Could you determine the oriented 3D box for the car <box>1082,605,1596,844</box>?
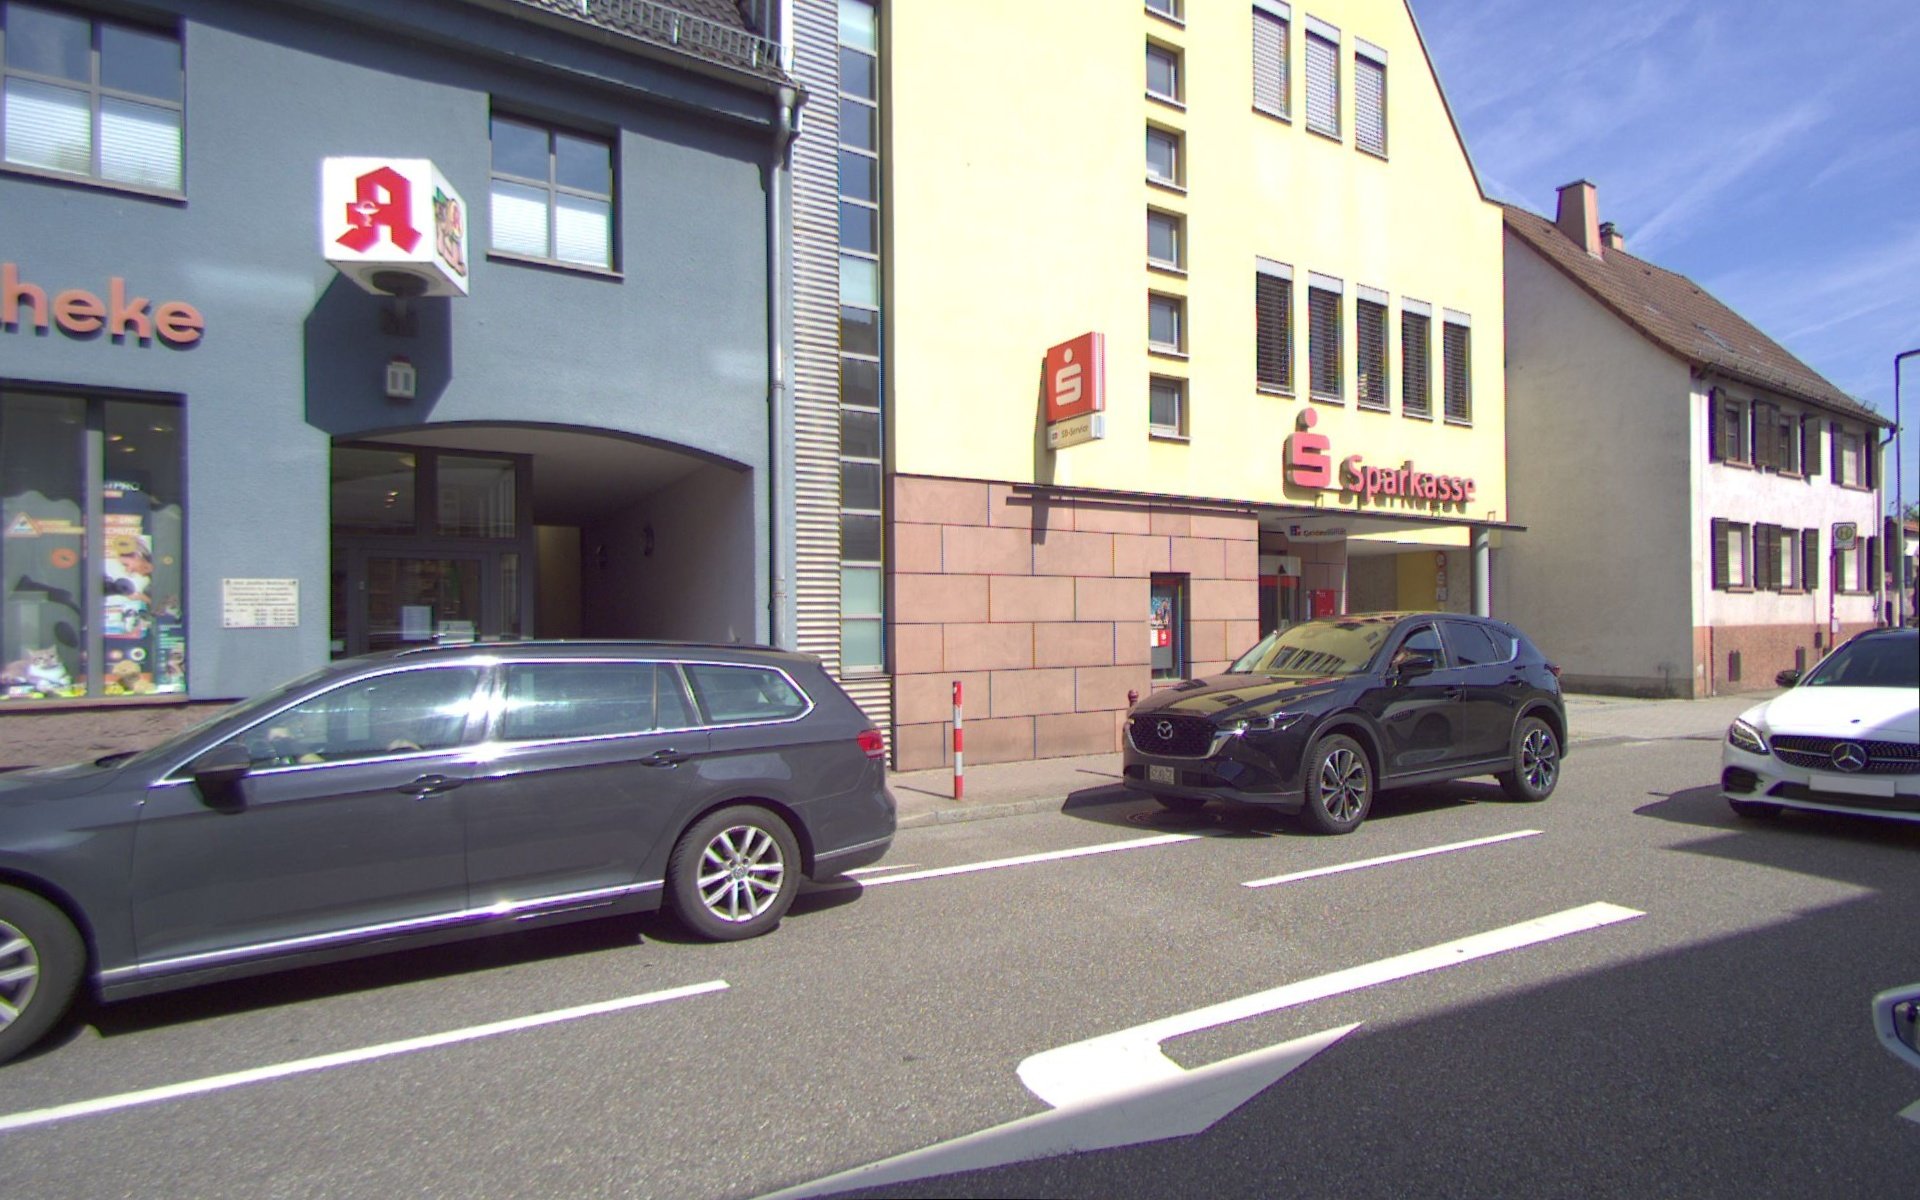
[{"bbox_3d":[3.397,0.924,8.775,4.467,1.610,1.858,1,-3,-32],"label":"car"}]

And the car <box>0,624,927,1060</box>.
[{"bbox_3d":[-2.493,0.888,4.937,4.374,1.469,1.780,1,-3,-32],"label":"car"}]

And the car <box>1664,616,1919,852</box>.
[{"bbox_3d":[7.824,0.877,7.966,5.047,1.463,1.976,1,-2,-34],"label":"car"}]
